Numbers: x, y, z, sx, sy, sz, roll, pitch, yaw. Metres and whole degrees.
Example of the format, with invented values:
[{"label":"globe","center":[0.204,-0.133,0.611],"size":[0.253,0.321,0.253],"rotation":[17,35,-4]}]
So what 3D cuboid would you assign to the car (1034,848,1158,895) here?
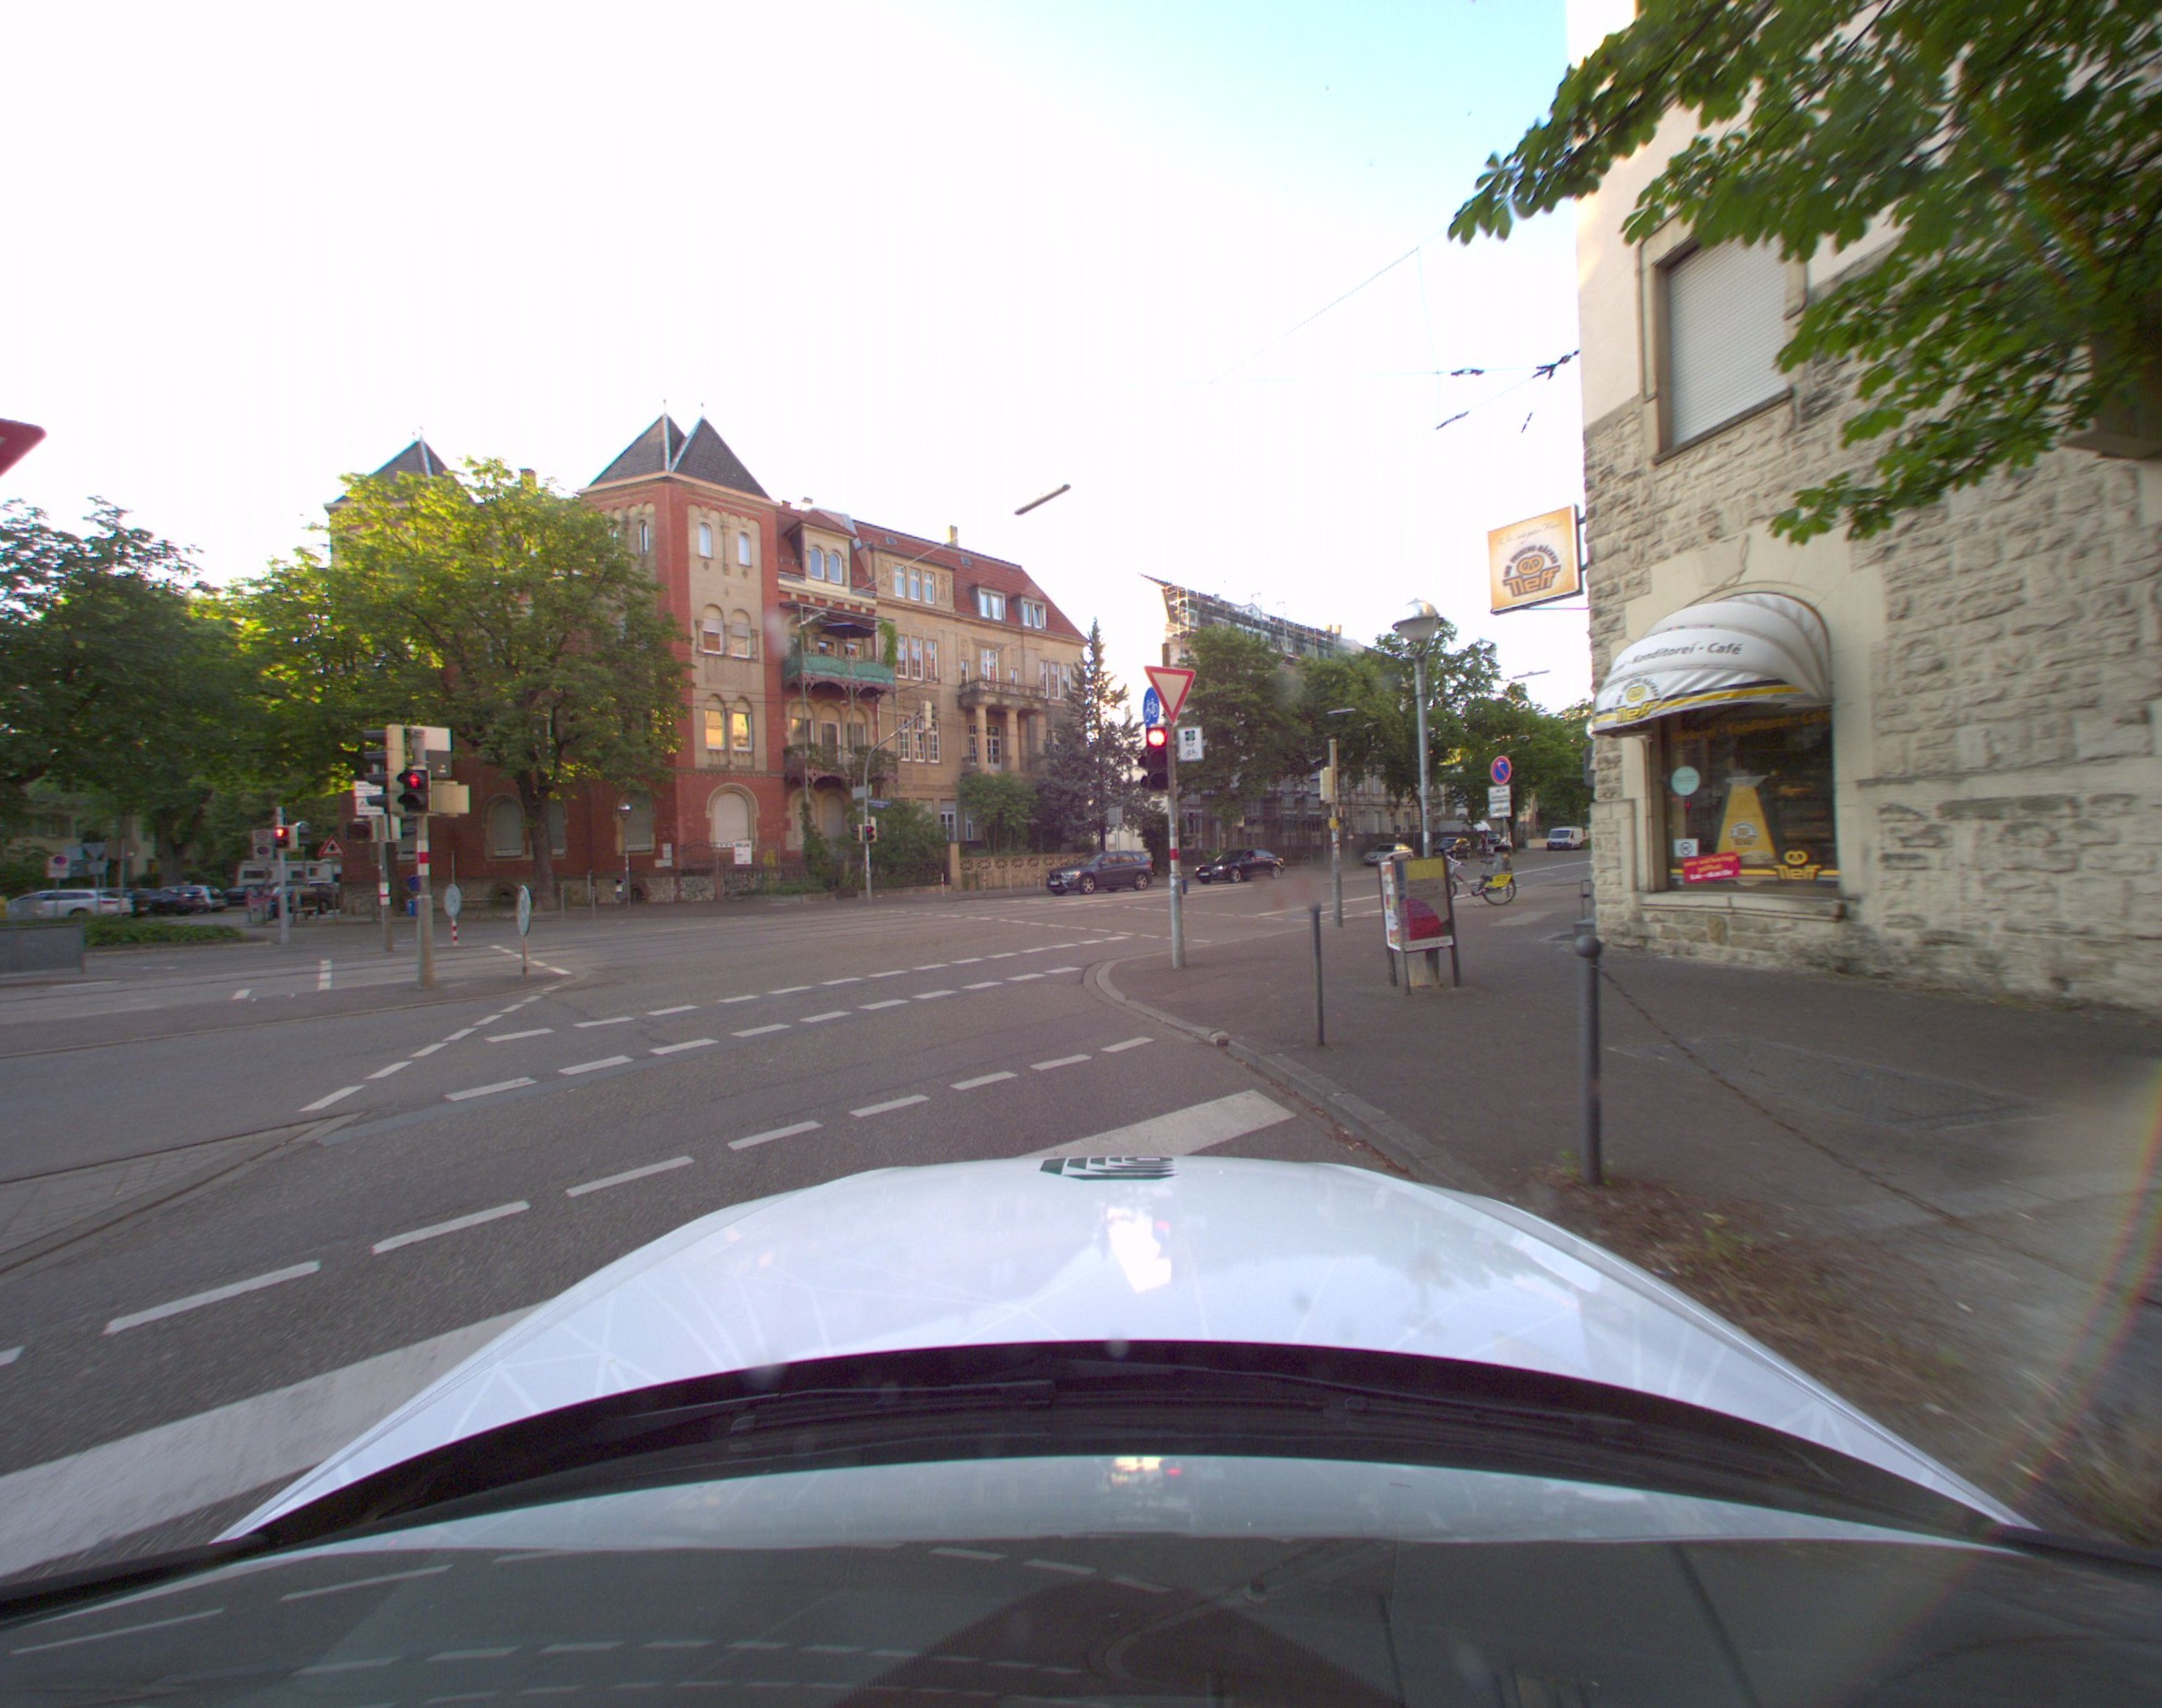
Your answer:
[{"label":"car","center":[0.612,0.638,30.608],"size":[4.443,1.510,1.927],"rotation":[-2,0,-40]}]

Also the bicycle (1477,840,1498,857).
[{"label":"bicycle","center":[27.995,-0.387,56.086],"size":[1.615,1.148,0.549],"rotation":[-2,0,-37]}]

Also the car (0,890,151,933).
[{"label":"car","center":[-45.391,2.534,36.171],"size":[4.976,1.704,1.983],"rotation":[-1,-1,-26]}]

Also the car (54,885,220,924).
[{"label":"car","center":[-46.792,2.467,40.540],"size":[4.976,1.704,1.983],"rotation":[-1,-1,-26]}]

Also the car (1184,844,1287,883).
[{"label":"car","center":[6.865,0.407,35.894],"size":[4.656,1.510,1.927],"rotation":[-2,0,-40]}]

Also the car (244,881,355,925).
[{"label":"car","center":[-34.637,2.123,36.288],"size":[2.002,1.704,4.684],"rotation":[-1,-1,-23]}]

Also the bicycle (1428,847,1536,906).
[{"label":"bicycle","center":[8.303,0.462,16.953],"size":[1.860,1.130,0.734],"rotation":[-2,0,11]}]

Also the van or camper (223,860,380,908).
[{"label":"van or camper","center":[-54.235,1.999,56.956],"size":[7.404,3.083,2.650],"rotation":[-1,-1,-26]}]

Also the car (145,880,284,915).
[{"label":"car","center":[-48.867,2.421,46.092],"size":[4.976,1.704,1.983],"rotation":[-1,-1,-26]}]

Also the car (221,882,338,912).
[{"label":"car","center":[-51.472,2.735,52.456],"size":[4.976,1.704,1.983],"rotation":[-1,-1,-26]}]

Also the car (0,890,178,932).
[{"label":"car","center":[-46.352,2.619,38.170],"size":[4.976,1.704,1.983],"rotation":[-1,-1,-26]}]

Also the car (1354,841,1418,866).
[{"label":"car","center":[19.784,-0.076,52.717],"size":[4.659,1.426,1.985],"rotation":[-2,0,-44]}]

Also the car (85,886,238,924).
[{"label":"car","center":[-48.466,2.661,43.082],"size":[4.976,1.704,1.983],"rotation":[-1,-1,-26]}]

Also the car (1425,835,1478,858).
[{"label":"car","center":[27.263,-0.542,59.887],"size":[4.190,1.482,1.927],"rotation":[-2,0,-40]}]

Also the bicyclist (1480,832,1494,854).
[{"label":"bicyclist","center":[27.979,-0.752,56.093],"size":[0.740,1.428,0.549],"rotation":[-2,0,-37]}]

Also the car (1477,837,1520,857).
[{"label":"car","center":[33.958,-0.601,66.209],"size":[1.926,1.482,4.346],"rotation":[-2,0,44]}]
